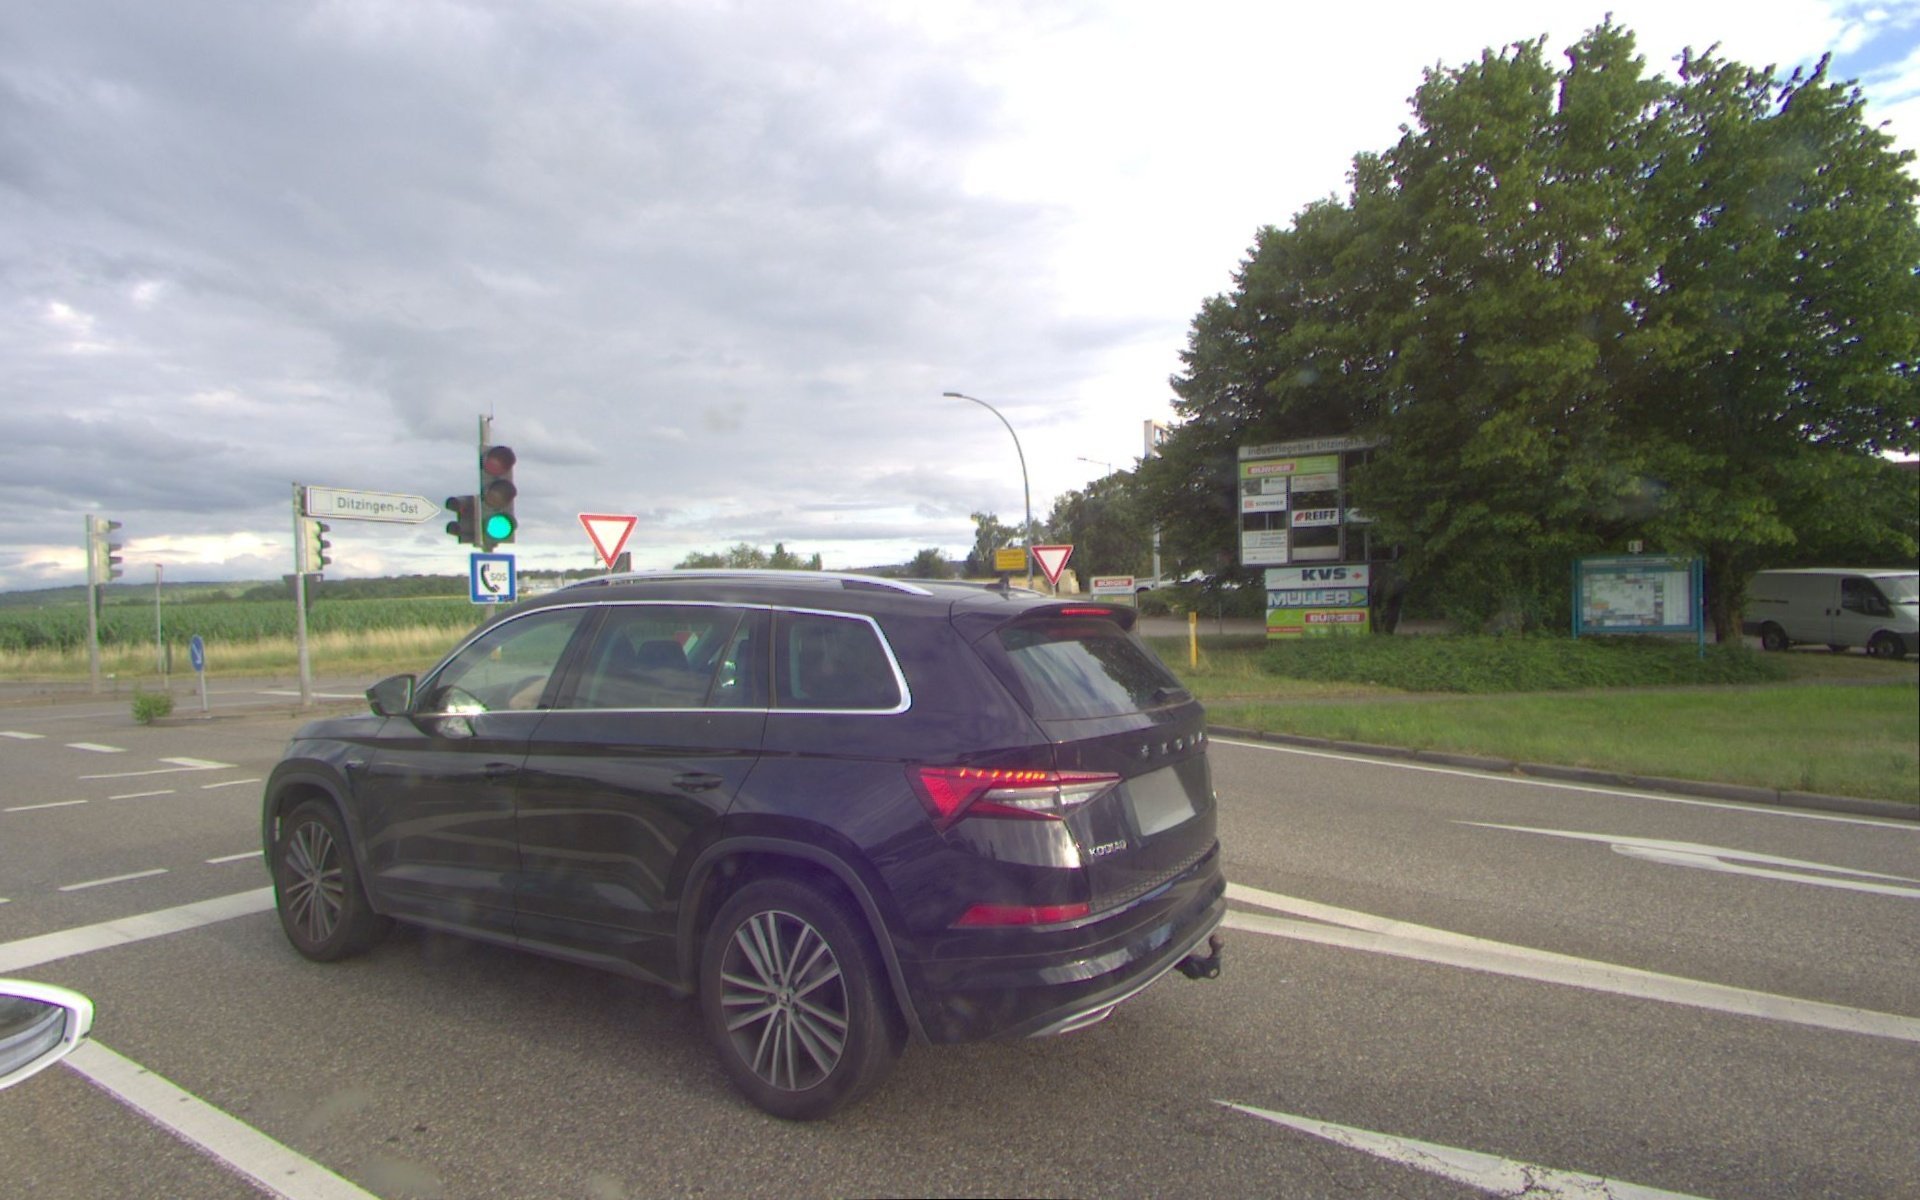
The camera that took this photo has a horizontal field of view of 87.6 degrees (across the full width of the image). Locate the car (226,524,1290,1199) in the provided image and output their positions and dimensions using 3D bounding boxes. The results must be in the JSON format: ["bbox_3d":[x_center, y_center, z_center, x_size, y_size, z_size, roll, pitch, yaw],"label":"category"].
[{"bbox_3d":[-1.060,0.714,4.285,4.416,1.671,1.842,-1,-2,32],"label":"car"}]

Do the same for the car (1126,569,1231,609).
[{"bbox_3d":[12.440,-0.628,57.159,5.524,2.041,1.992,-2,1,25],"label":"car"}]

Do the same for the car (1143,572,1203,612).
[{"bbox_3d":[11.461,-0.453,53.672,1.931,1.910,4.284,-1,2,29],"label":"car"}]

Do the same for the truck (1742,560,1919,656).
[{"bbox_3d":[21.040,0.219,23.351,1.788,2.022,4.671,0,-1,-3],"label":"truck"}]
